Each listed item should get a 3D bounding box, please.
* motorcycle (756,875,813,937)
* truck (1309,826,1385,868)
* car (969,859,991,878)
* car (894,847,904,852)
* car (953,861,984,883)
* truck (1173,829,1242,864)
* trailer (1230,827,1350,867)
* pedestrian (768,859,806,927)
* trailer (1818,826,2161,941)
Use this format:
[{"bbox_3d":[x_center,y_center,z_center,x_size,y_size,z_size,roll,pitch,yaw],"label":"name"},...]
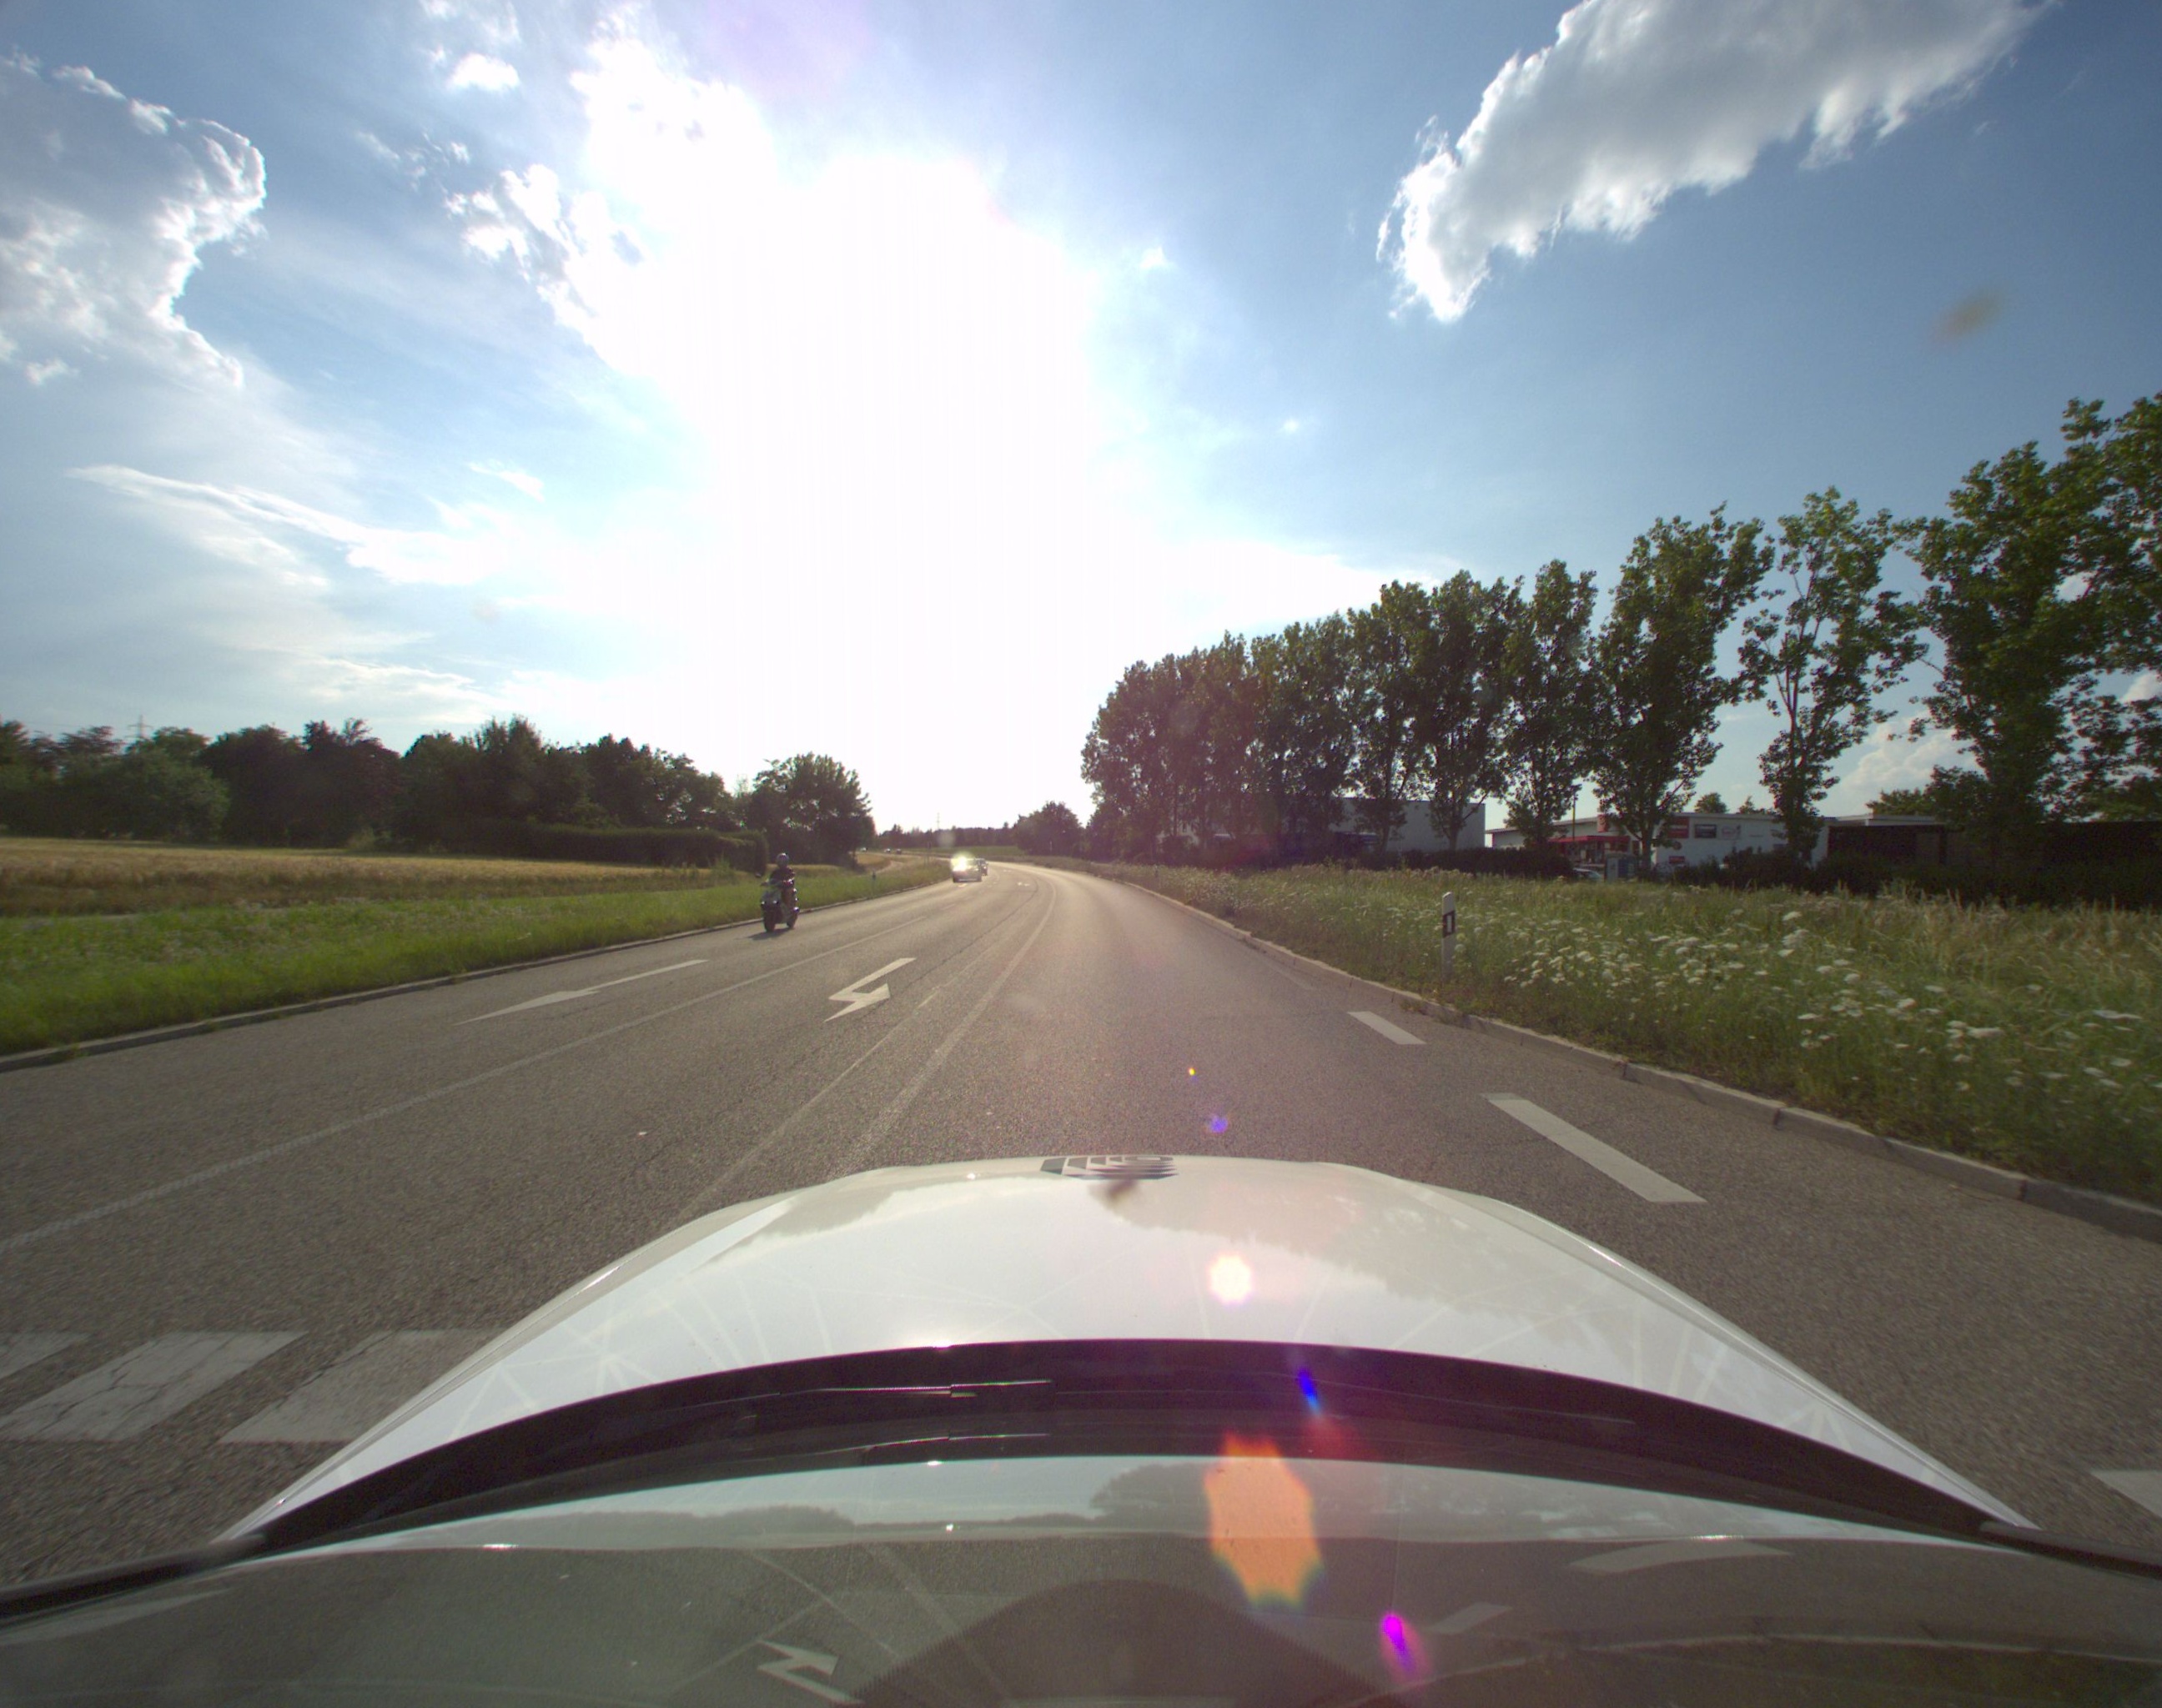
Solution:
[{"bbox_3d":[-6.656,1.124,18.360,0.584,1.261,2.119,0,0,-3],"label":"motorcycle"},{"bbox_3d":[21.597,-0.535,66.434,2.633,3.162,5.662,4,-2,-25],"label":"truck"},{"bbox_3d":[-8.607,1.181,69.133,1.683,1.349,3.623,4,1,-8],"label":"car"},{"bbox_3d":[-48.520,-1.103,216.931,1.976,1.151,3.837,4,-1,-24],"label":"car"},{"bbox_3d":[-7.417,1.138,54.001,1.681,1.349,3.995,0,0,-4],"label":"car"},{"bbox_3d":[13.294,-0.780,86.832,2.521,3.376,9.613,4,-1,-22],"label":"truck"},{"bbox_3d":[18.398,-0.461,73.364,2.696,3.142,13.161,4,-2,-25],"label":"trailer"},{"bbox_3d":[-6.659,0.859,18.459,0.564,1.505,0.864,0,0,-3],"label":"pedestrian"},{"bbox_3d":[36.657,1.032,30.594,2.252,3.915,13.621,4,-1,-22],"label":"trailer"}]
